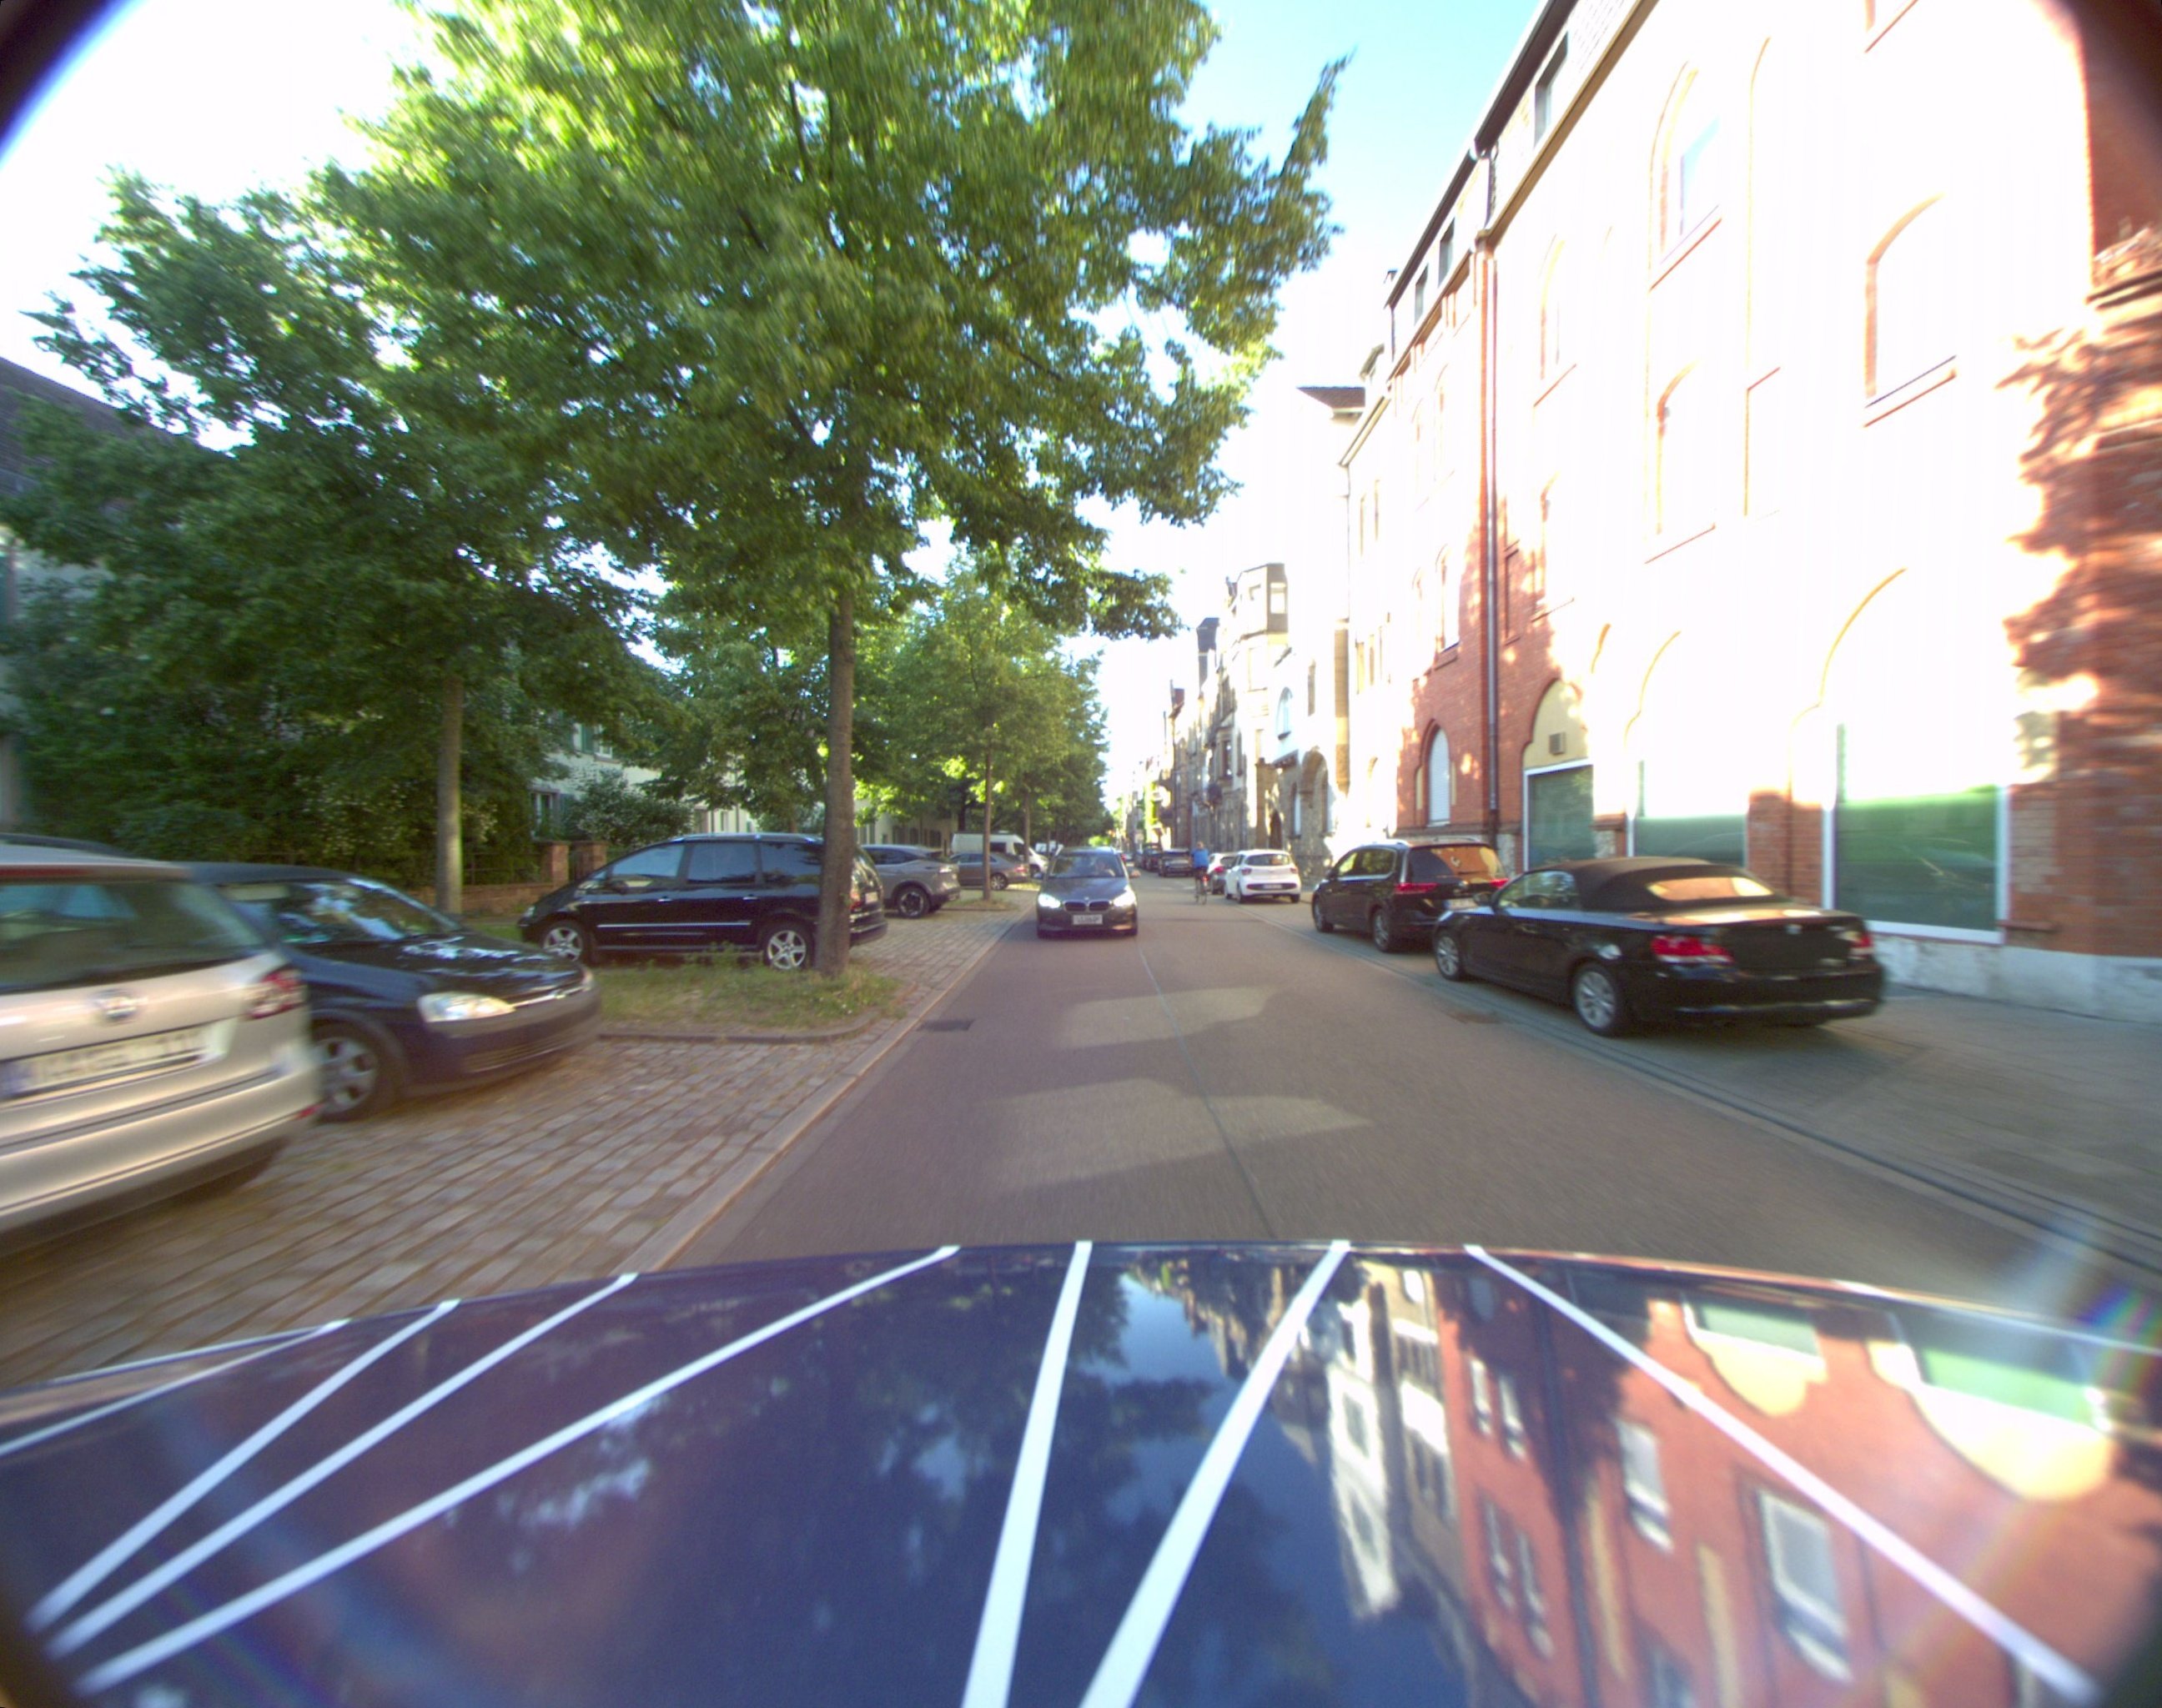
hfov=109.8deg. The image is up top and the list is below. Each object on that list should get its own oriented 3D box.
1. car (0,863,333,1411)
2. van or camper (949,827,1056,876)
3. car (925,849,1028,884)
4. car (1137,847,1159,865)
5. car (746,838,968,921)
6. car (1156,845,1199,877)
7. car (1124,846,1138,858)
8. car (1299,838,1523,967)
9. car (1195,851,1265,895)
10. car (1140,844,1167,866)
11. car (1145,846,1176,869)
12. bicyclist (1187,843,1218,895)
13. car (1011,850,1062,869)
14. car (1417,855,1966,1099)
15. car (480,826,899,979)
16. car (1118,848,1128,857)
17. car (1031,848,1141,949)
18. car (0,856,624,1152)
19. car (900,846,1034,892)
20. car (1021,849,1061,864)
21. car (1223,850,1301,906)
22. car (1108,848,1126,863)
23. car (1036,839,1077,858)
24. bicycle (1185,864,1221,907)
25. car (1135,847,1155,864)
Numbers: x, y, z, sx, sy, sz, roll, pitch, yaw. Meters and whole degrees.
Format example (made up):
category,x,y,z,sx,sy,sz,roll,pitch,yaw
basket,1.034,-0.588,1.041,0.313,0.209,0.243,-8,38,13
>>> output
category,x,y,z,sx,sy,sz,roll,pitch,yaw
car,-5.450,0.836,2.555,4.282,1.624,1.690,2,1,2
van or camper,-4.340,-0.131,42.796,5.733,2.502,2.162,2,1,0
car,-4.799,0.550,35.289,4.486,1.427,1.828,2,1,1
car,5.929,0.191,67.494,1.633,1.439,3.856,-5,-1,2
car,-4.997,0.545,17.418,4.487,1.624,1.875,2,1,0
car,5.472,0.359,43.584,1.881,1.707,4.339,-2,0,1
car,7.077,-0.207,107.302,1.686,1.496,3.629,-5,-1,2
car,5.087,0.620,12.431,1.673,1.671,4.349,-2,1,-1
car,5.306,0.630,27.513,1.681,1.434,4.111,-2,0,0
car,5.888,0.048,62.057,1.774,1.658,4.211,-2,1,0
car,5.739,0.221,55.298,1.774,1.493,4.211,-1,2,0
bicyclist,3.459,0.402,21.685,0.761,1.446,0.948,0,2,1
car,-3.638,0.421,62.391,3.997,1.543,1.555,0,1,1
car,4.908,0.805,7.077,1.640,1.402,4.332,-4,1,1
car,-4.996,0.570,10.149,4.592,1.667,1.907,2,1,3
car,7.550,-0.215,136.707,1.710,1.496,3.629,-5,-1,2
car,0.137,0.737,14.973,1.753,1.596,4.550,-3,0,1
car,-5.312,0.815,4.905,3.731,1.445,1.589,2,1,1
car,-4.296,0.547,29.320,4.850,1.530,1.894,2,1,-1
car,-4.072,0.271,77.874,3.998,1.504,1.572,0,1,-3
car,5.242,0.651,22.429,1.570,1.462,3.591,-2,0,3
car,3.660,0.150,77.873,1.631,1.469,3.758,0,1,-1
car,-3.296,-0.757,103.365,5.448,2.646,2.134,0,1,1
bicycle,3.460,0.867,21.695,0.759,1.101,1.907,0,1,1
car,6.101,0.155,73.037,1.633,1.496,3.856,-5,-1,2
